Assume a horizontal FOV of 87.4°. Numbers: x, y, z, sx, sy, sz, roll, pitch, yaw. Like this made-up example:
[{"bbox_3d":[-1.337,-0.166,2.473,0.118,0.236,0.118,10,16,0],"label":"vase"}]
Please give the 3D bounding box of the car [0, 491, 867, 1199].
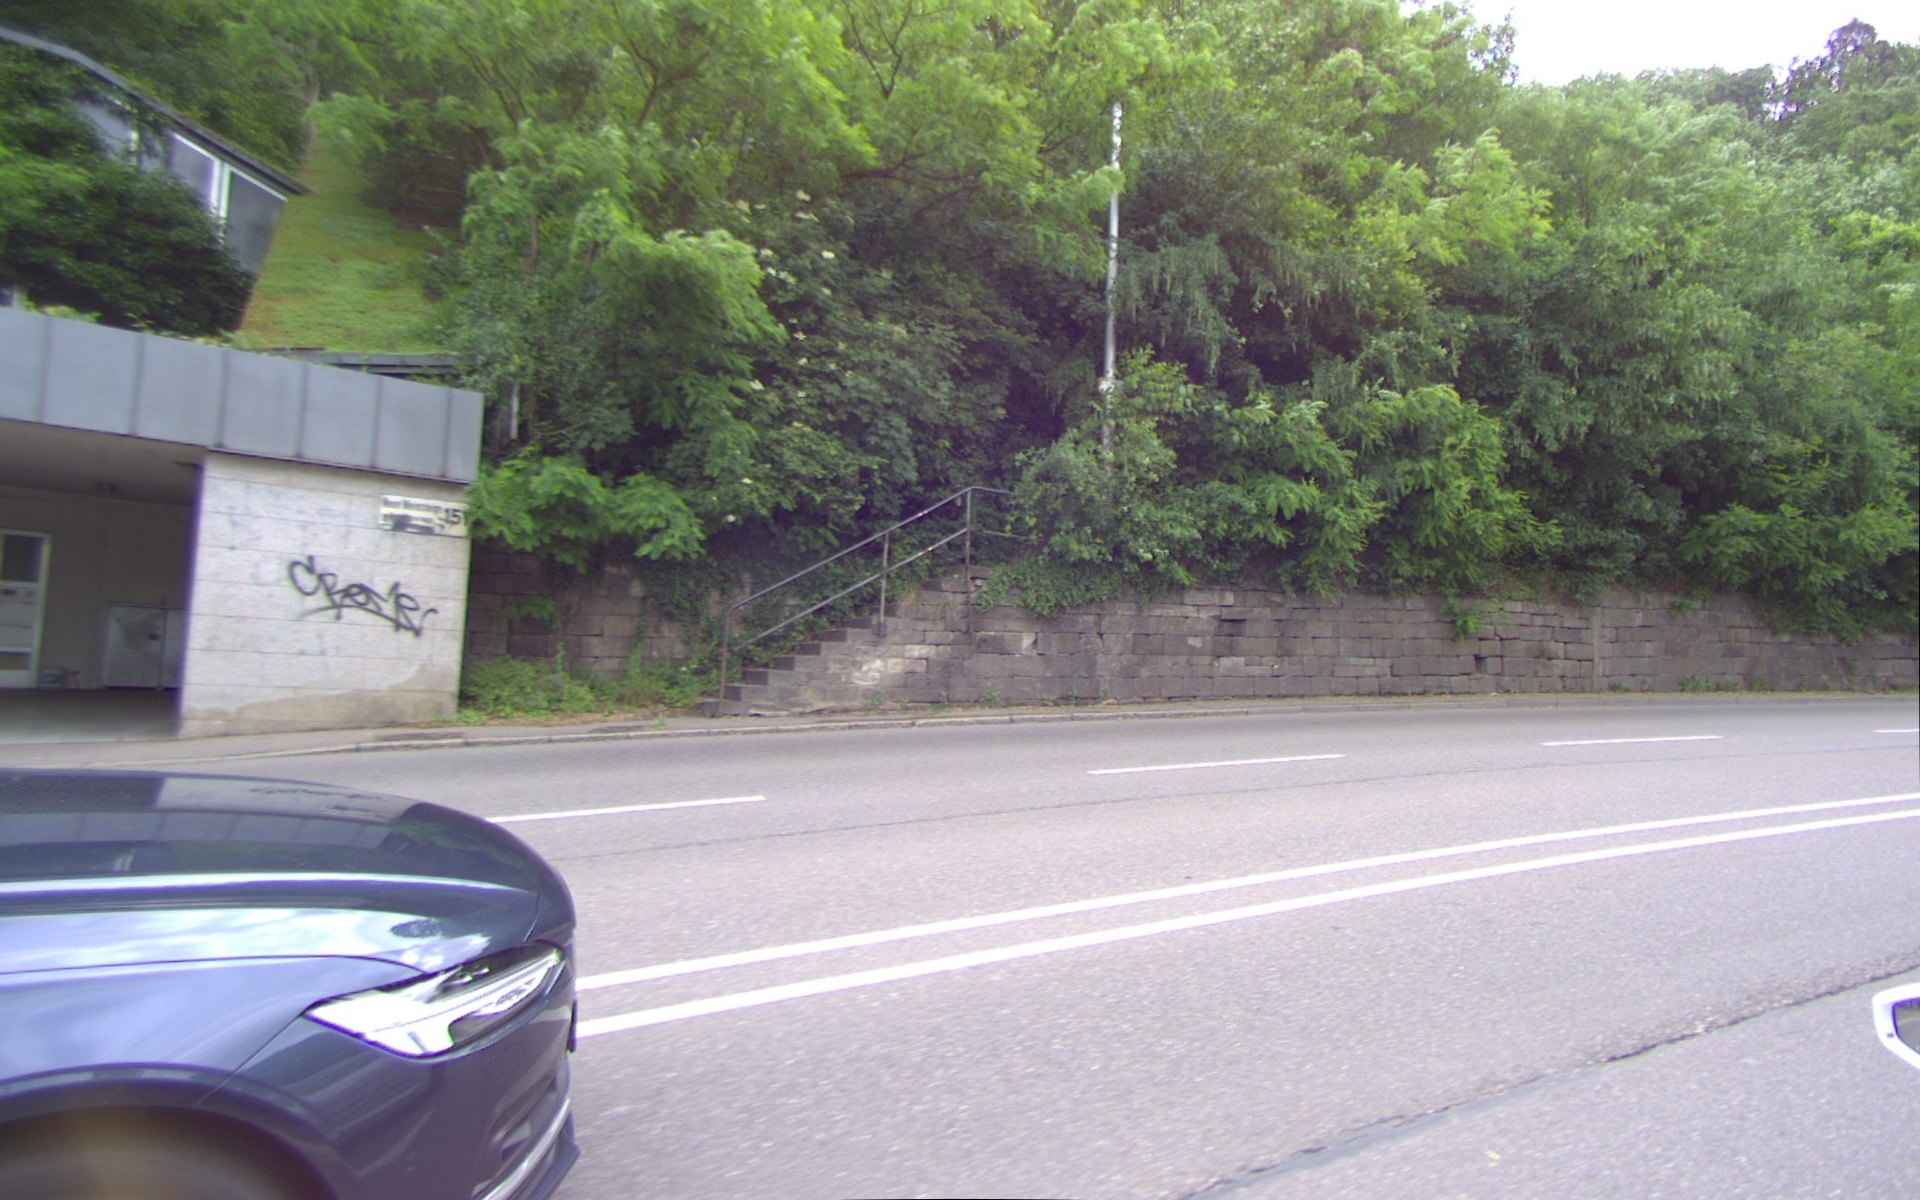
[{"bbox_3d":[-2.792,0.590,1.266,4.972,1.597,1.924,2,1,-32],"label":"car"}]
